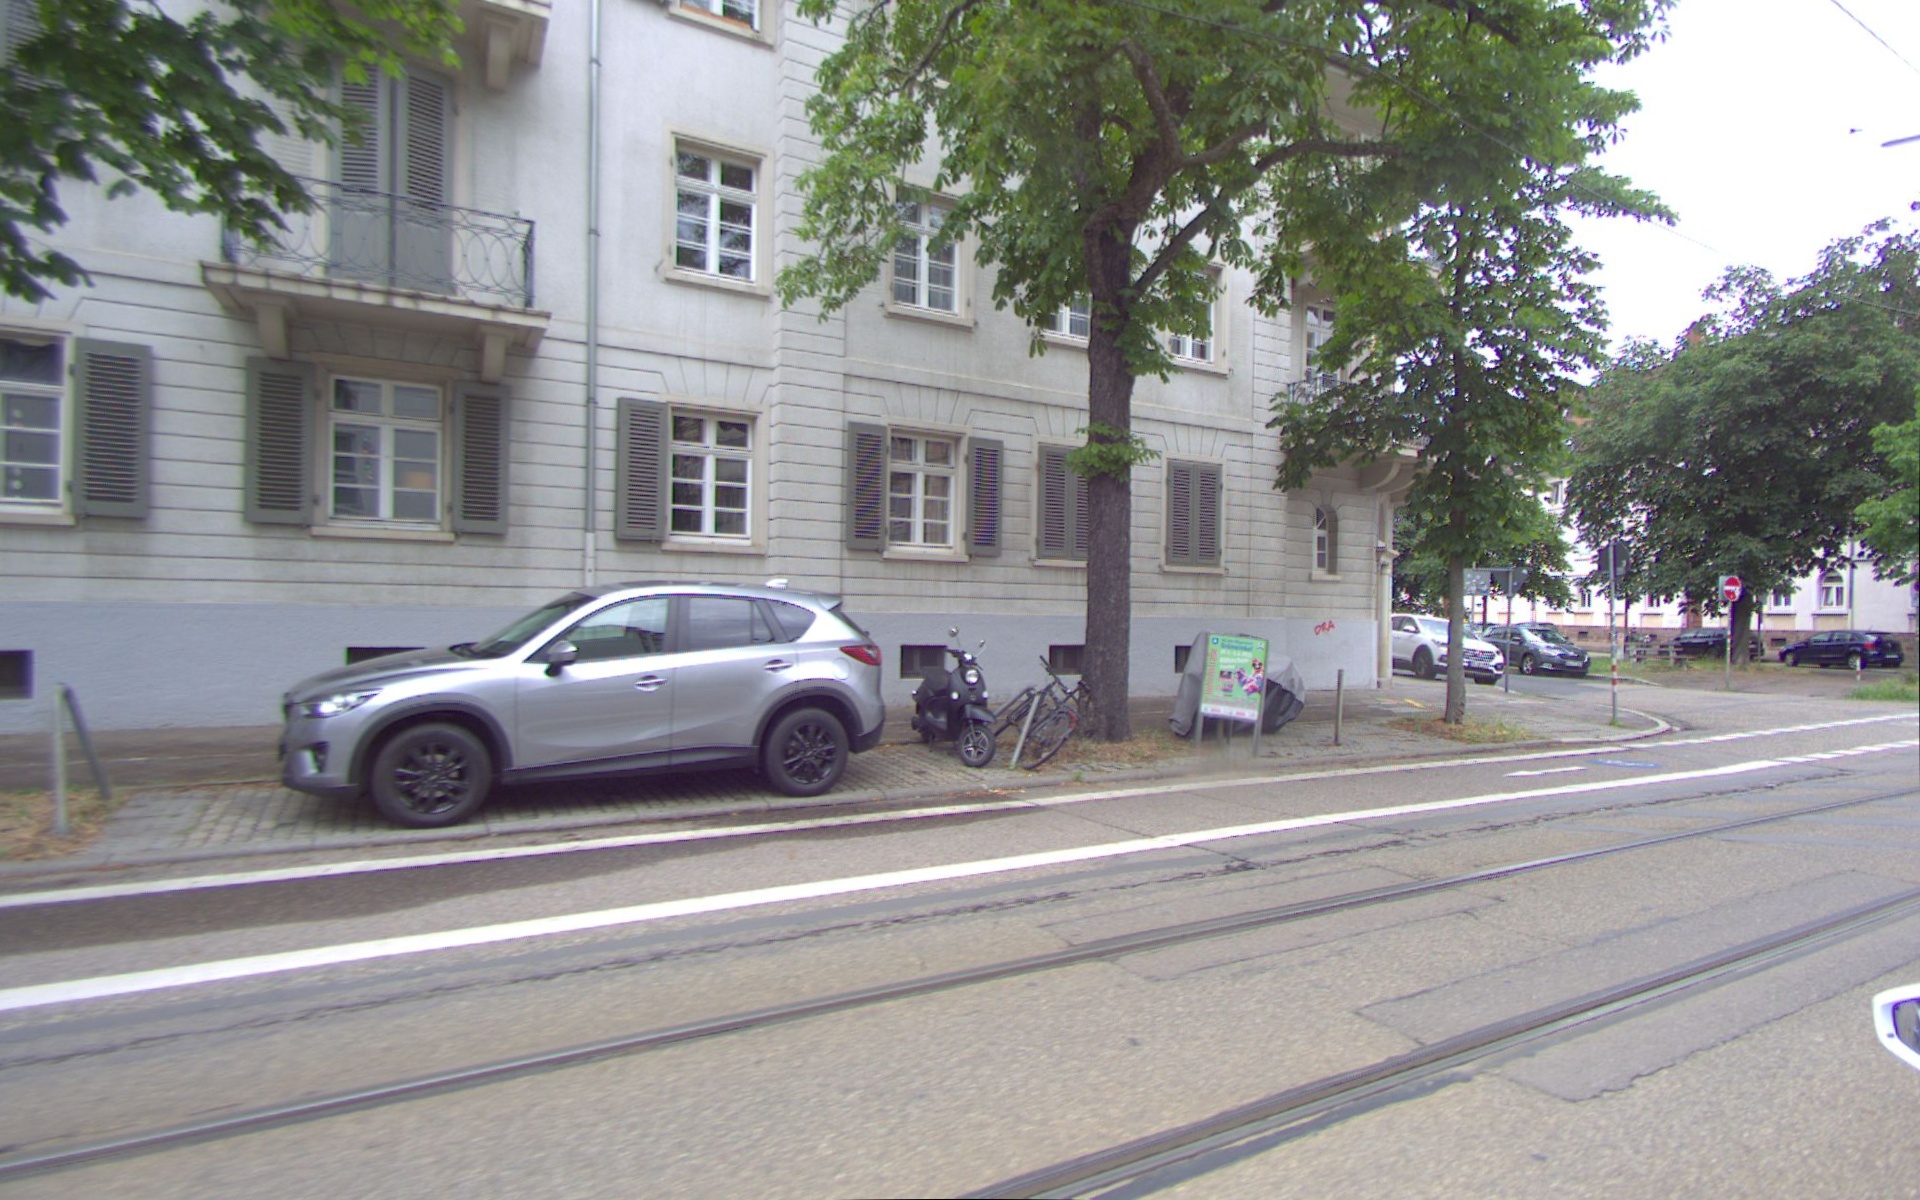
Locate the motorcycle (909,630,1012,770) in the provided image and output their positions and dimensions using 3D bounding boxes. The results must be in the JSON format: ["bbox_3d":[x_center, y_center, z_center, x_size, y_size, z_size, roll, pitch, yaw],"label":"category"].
[{"bbox_3d":[-0.019,0.949,9.994,0.540,1.238,1.282,1,1,-23],"label":"motorcycle"}]

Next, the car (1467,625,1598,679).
[{"bbox_3d":[17.411,1.536,30.754,1.629,1.429,4.070,1,0,-1],"label":"car"}]

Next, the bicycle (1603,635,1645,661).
[{"bbox_3d":[25.389,1.813,38.431,0.440,0.937,1.674,0,0,-2],"label":"bicycle"}]

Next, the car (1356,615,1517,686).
[{"bbox_3d":[12.390,1.253,26.477,1.901,1.685,4.515,1,-1,-3],"label":"car"}]

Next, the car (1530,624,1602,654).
[{"bbox_3d":[32.604,2.061,54.130,1.642,1.460,3.498,1,0,-3],"label":"car"}]

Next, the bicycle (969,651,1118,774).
[{"bbox_3d":[0.814,1.089,10.157,0.917,1.018,1.371,1,2,-25],"label":"bicycle"}]

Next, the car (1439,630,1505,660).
[{"bbox_3d":[27.640,2.390,54.369,1.640,1.428,4.001,1,0,2],"label":"car"}]

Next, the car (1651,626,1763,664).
[{"bbox_3d":[32.467,1.943,43.773,1.675,1.483,3.941,1,0,-7],"label":"car"}]

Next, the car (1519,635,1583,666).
[{"bbox_3d":[27.898,2.376,47.481,1.329,1.316,2.968,1,0,2],"label":"car"}]

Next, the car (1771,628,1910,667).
[{"bbox_3d":[32.978,1.743,37.764,1.708,1.324,3.758,1,-1,-6],"label":"car"}]

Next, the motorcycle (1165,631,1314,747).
[{"bbox_3d":[3.379,1.018,12.033,2.122,1.274,0.536,1,0,-37],"label":"motorcycle"}]

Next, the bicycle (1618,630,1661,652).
[{"bbox_3d":[34.963,2.104,51.712,0.641,1.049,2.191,1,0,-3],"label":"bicycle"}]

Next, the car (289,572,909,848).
[{"bbox_3d":[-2.725,0.697,8.053,4.241,1.683,1.829,1,2,-29],"label":"car"}]
